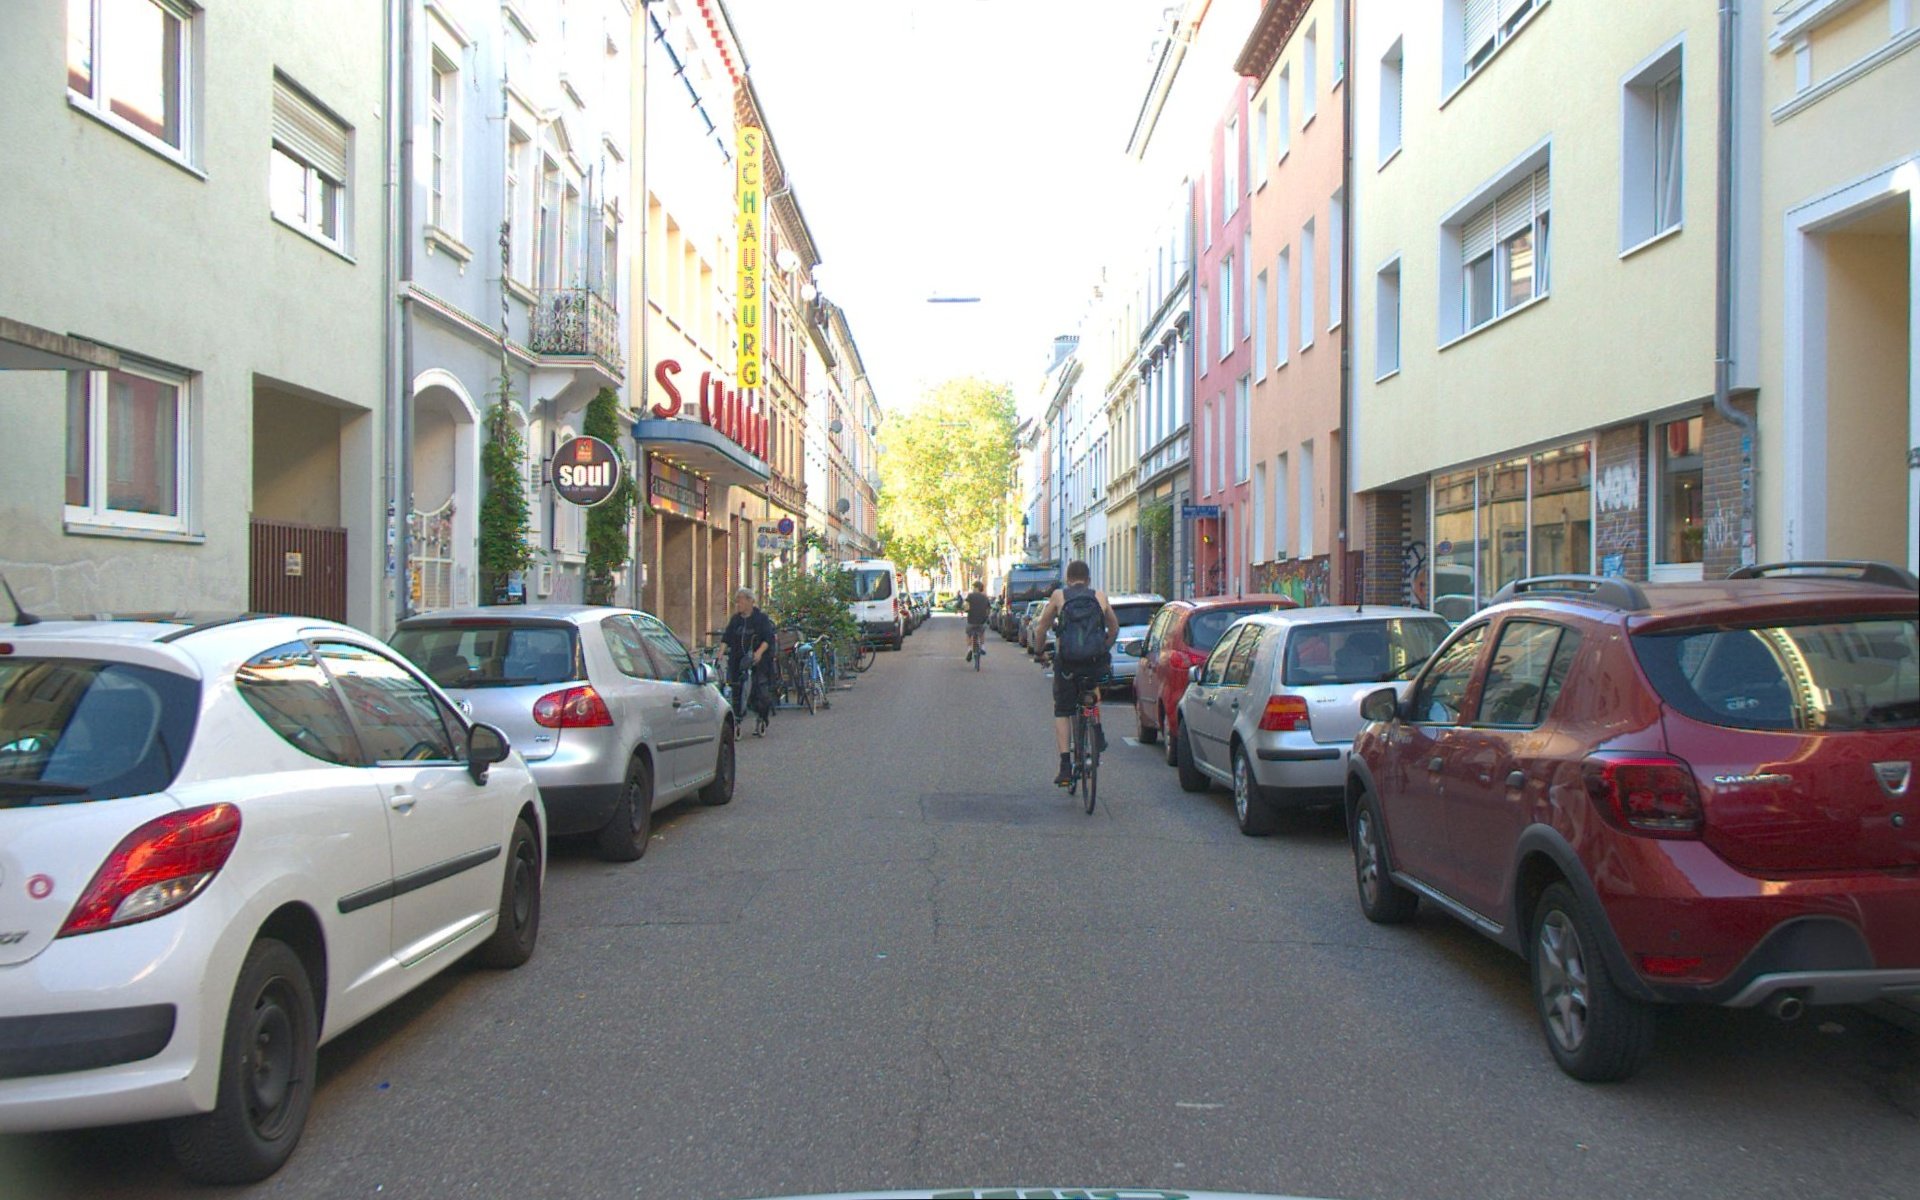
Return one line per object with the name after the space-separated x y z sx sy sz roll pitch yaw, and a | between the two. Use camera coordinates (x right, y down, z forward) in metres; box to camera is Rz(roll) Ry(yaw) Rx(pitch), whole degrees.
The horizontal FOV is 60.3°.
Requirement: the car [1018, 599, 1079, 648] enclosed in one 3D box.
2.777 0.719 52.786 1.711 1.469 4.171 0 0 0 | car

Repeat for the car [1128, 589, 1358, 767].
2.736 0.692 16.802 1.662 1.549 3.980 -2 0 1 | car

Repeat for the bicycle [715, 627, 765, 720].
-2.887 0.944 21.809 0.434 1.125 1.873 1 0 -2 | bicycle

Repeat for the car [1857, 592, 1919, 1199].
2.706 0.771 1.182 1.725 1.548 4.379 1 0 -1 | car

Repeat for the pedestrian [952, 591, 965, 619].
-0.133 0.352 112.670 0.770 1.849 0.650 1 0 -7 | pedestrian

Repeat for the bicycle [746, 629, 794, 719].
-2.546 0.969 22.252 0.434 1.125 1.931 1 0 -1 | bicycle

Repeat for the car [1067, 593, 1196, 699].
2.721 0.680 27.012 1.710 1.583 4.172 0 0 1 | car

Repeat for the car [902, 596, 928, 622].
-2.862 0.575 104.530 1.513 1.578 3.463 -1 0 -3 | car

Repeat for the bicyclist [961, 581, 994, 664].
0.359 0.457 34.288 0.656 1.687 0.877 -1 0 0 | bicyclist

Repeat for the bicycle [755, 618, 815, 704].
-2.519 0.867 23.866 0.796 1.195 0.920 0 0 -3 | bicycle

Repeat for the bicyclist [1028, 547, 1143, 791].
0.910 0.485 12.252 0.725 1.708 1.116 1 0 -1 | bicyclist

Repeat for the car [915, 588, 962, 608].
-2.028 -0.204 156.096 4.381 1.790 1.864 -1 0 -5 | car

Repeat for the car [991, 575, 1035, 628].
2.736 0.062 85.618 2.159 2.595 6.037 -1 0 2 | car

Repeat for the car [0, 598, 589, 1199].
-2.591 0.746 5.717 1.753 1.477 3.999 -1 0 -1 | car

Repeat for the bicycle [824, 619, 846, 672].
-2.665 0.958 35.355 0.433 1.066 1.864 1 0 -4 | bicycle

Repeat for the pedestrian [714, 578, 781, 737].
-2.365 0.638 18.487 0.699 1.737 0.671 1 -1 -7 | pedestrian

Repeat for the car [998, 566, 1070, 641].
2.582 0.123 59.017 2.131 2.468 6.308 -2 0 -1 | car

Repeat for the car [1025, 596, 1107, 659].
2.759 0.691 43.889 1.750 1.479 4.546 -3 0 -1 | car

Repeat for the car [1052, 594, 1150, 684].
2.667 0.707 31.827 1.569 1.566 3.450 -3 0 1 | car

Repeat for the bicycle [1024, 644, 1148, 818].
0.898 0.923 12.314 0.725 1.120 2.042 1 0 -1 | bicycle

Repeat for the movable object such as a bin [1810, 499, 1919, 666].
5.457 -0.102 9.689 0.692 0.952 0.511 0 0 -1 | movable object such as a bin

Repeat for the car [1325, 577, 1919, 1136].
2.809 0.717 6.707 1.753 1.578 4.000 -1 0 0 | car

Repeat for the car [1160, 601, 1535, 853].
2.628 0.776 12.218 1.654 1.478 4.192 -2 0 -2 | car

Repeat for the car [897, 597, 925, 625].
-2.901 0.607 97.155 1.572 1.556 3.377 -2 0 -2 | car

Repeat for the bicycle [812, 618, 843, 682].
-2.451 0.910 30.761 0.535 1.113 1.880 1 0 -4 | bicycle

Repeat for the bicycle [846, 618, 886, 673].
-1.958 0.928 34.296 0.453 1.066 1.742 1 0 -16 | bicycle

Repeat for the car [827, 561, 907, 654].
-2.675 0.200 48.819 2.124 2.495 5.920 -2 0 -2 | car

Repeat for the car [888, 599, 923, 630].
-2.695 0.699 82.161 1.559 1.465 3.654 -1 0 1 | car

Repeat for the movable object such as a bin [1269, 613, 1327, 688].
5.124 0.760 25.095 0.678 1.076 0.736 -3 0 0 | movable object such as a bin

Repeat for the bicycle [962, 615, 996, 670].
0.384 0.865 34.301 0.650 1.055 1.958 -1 0 0 | bicycle

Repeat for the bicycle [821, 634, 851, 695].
-2.029 1.048 27.135 0.382 0.932 1.393 0 0 0 | bicycle

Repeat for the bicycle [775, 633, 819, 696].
-2.623 1.030 26.779 0.542 0.960 1.571 0 0 0 | bicycle

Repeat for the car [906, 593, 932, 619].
-2.909 0.413 116.732 1.751 1.767 3.875 -1 0 -1 | car

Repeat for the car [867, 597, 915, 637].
-2.735 0.669 66.161 1.824 1.465 4.643 -1 1 -2 | car

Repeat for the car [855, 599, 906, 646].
-2.611 0.718 54.873 1.612 1.472 3.838 -1 0 -2 | car

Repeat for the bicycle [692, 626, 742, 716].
-3.278 0.938 22.363 0.434 1.125 1.697 1 0 -1 | bicycle

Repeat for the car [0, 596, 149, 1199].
-2.299 0.763 0.863 1.752 1.488 4.199 -1 0 -1 | car

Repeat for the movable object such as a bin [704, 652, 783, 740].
-2.351 1.041 17.967 0.828 0.913 0.584 1 0 -8 | movable object such as a bin

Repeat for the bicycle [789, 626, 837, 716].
-1.970 0.928 22.293 0.489 1.125 1.829 1 0 -1 | bicycle

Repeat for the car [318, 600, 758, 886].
-2.525 0.774 10.921 1.645 1.480 4.035 -2 0 3 | car
